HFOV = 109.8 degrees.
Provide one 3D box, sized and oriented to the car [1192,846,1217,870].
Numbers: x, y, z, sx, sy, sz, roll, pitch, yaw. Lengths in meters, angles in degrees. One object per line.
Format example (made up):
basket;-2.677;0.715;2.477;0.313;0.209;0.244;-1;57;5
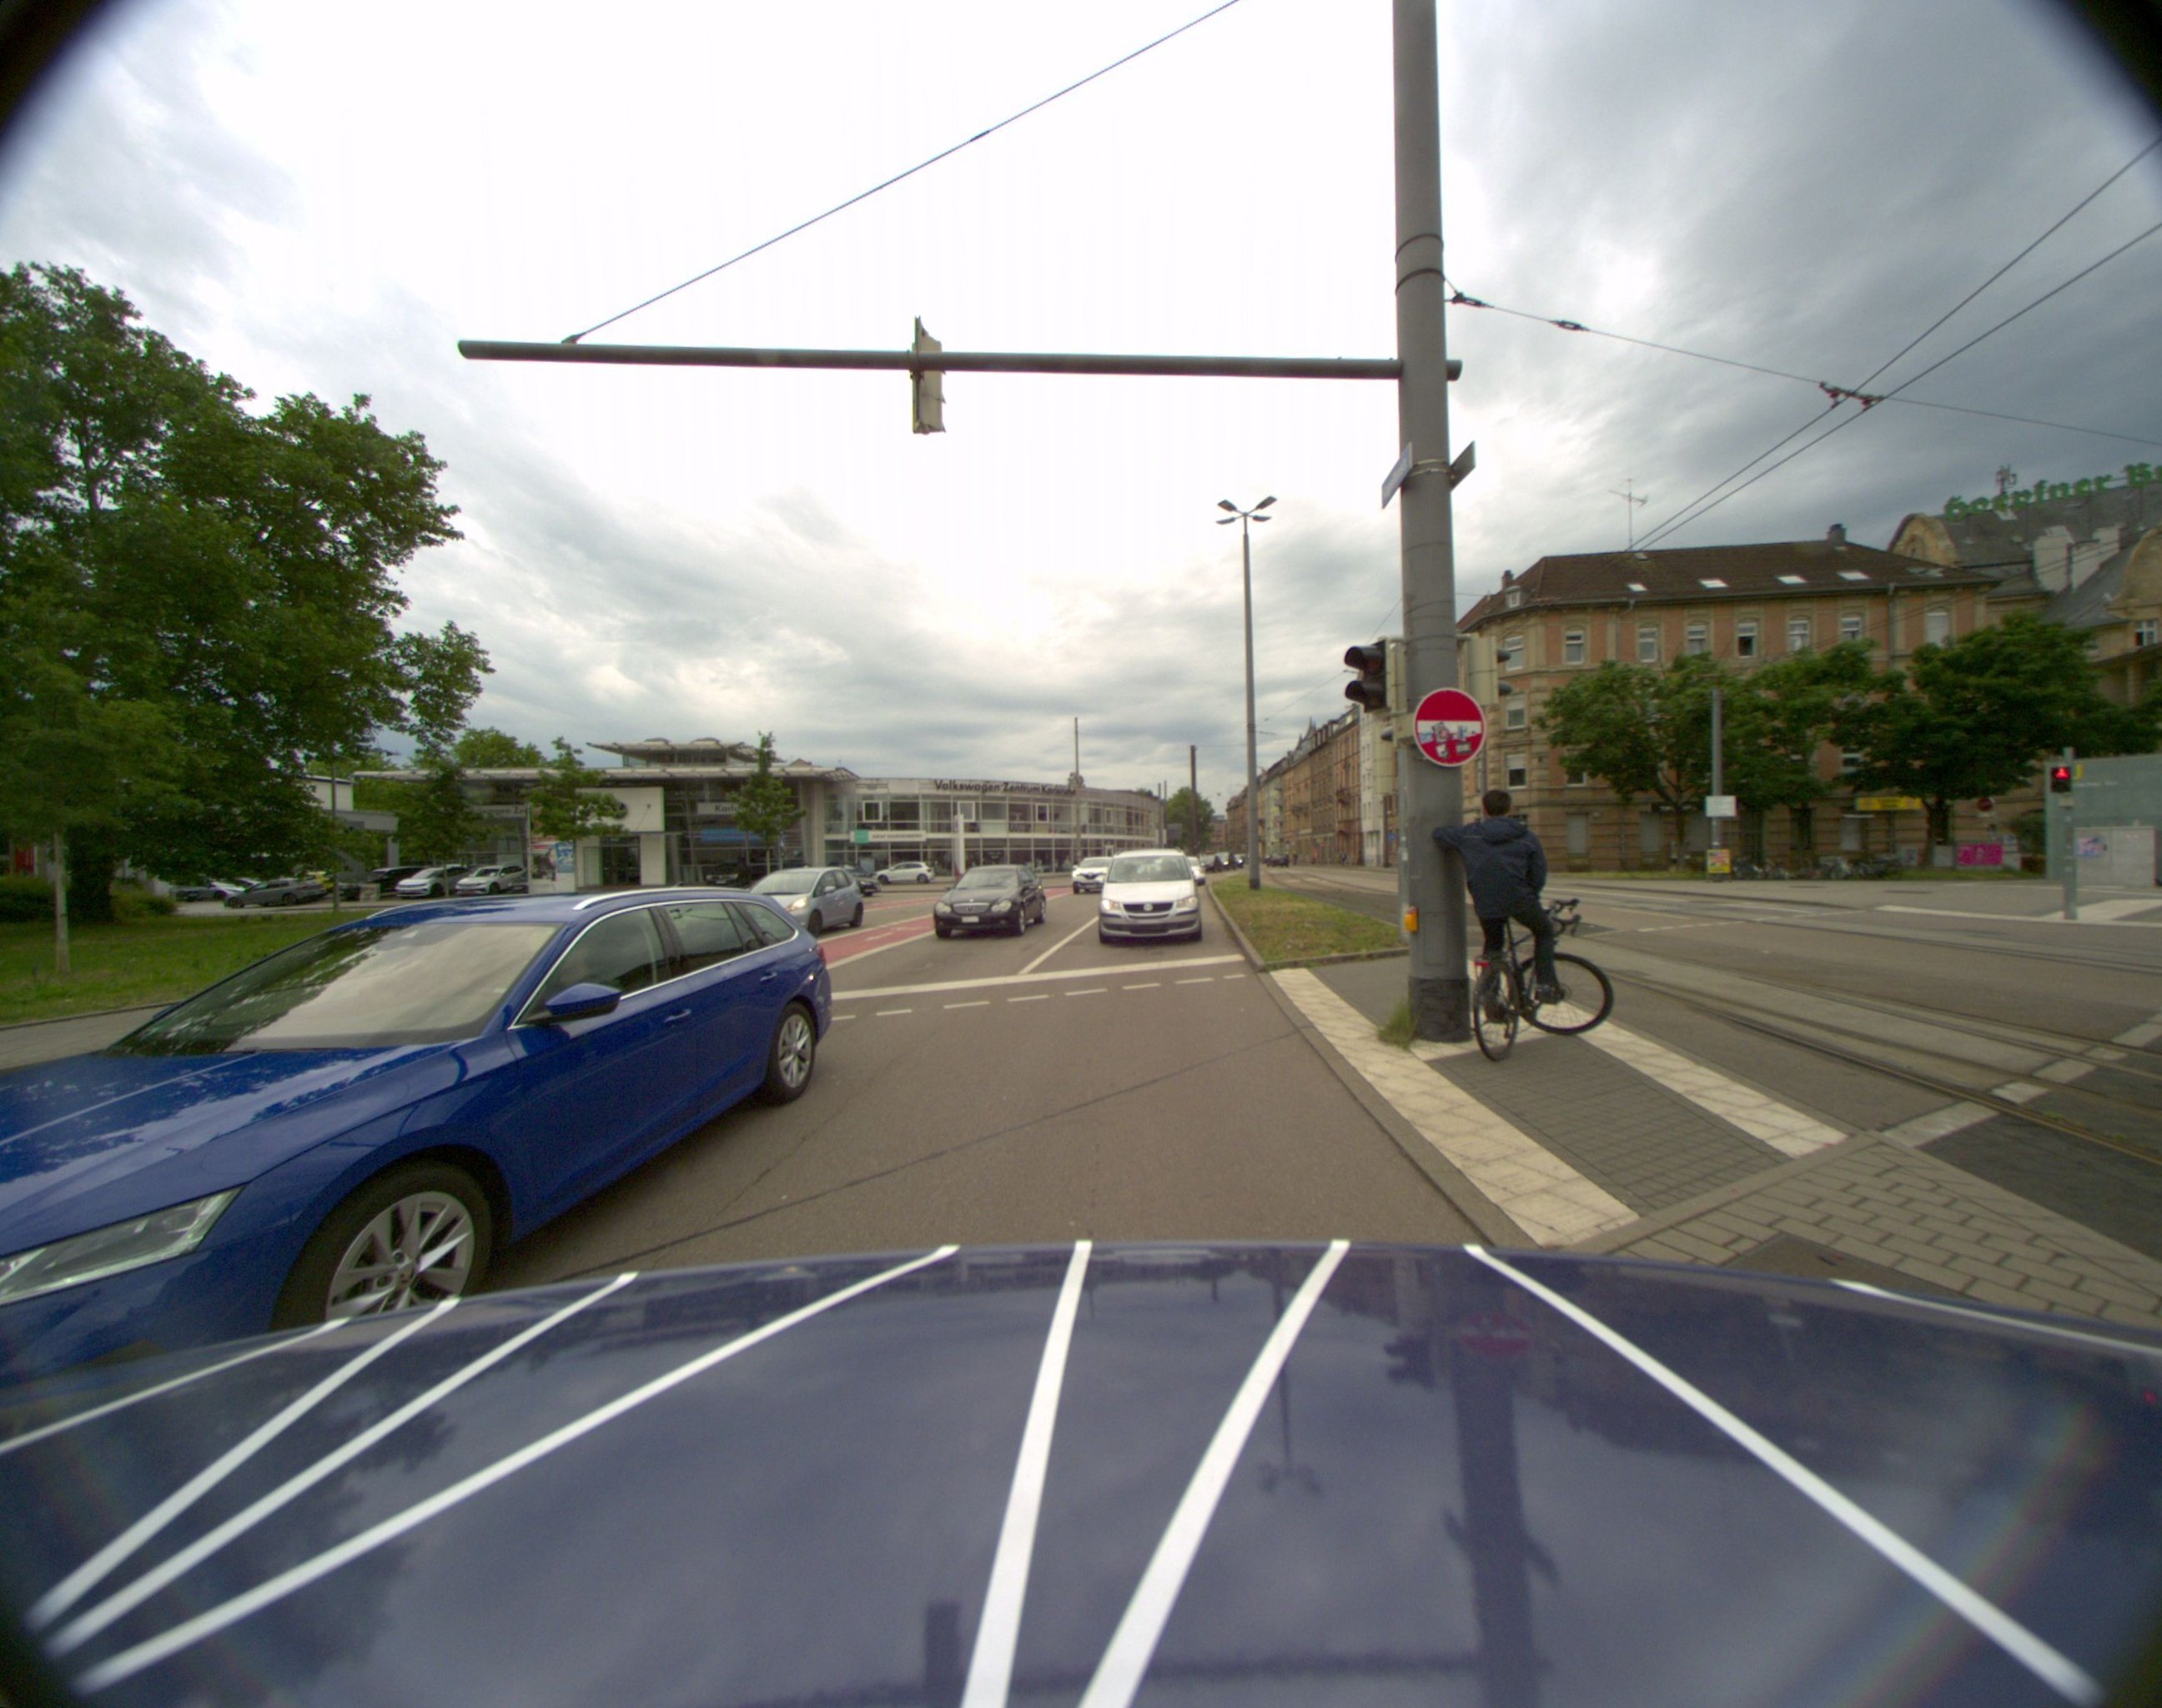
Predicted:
car;10.610;0.325;65.351;1.997;2.002;4.002;-1;0;8

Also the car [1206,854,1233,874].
car;13.038;0.946;71.637;2.371;1.744;5.133;-1;0;10

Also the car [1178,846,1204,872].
car;8.765;0.357;60.679;1.997;2.002;4.002;-1;0;8

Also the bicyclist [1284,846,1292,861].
bicyclist;26.652;-0.052;97.925;0.823;1.856;0.924;-1;1;7

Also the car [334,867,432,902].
car;-41.066;1.756;44.858;1.957;1.505;4.223;-1;6;-5

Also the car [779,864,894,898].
car;-11.599;1.266;36.296;4.881;1.534;1.890;-1;0;-5

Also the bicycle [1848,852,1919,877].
bicycle;34.634;0.444;32.842;0.754;1.024;2.398;-1;0;7

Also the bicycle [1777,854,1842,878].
bicycle;31.848;0.511;33.272;0.754;1.024;2.398;-1;0;7

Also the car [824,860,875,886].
car;-14.900;1.189;48.785;1.794;1.551;4.023;-1;0;-37

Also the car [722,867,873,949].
car;-6.128;1.102;16.954;1.709;1.474;3.934;-2;0;2

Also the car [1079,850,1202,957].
car;1.153;0.769;14.306;1.862;1.609;5.064;-2;0;5

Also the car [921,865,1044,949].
car;-1.934;1.013;16.299;1.769;1.362;4.422;-2;1;3

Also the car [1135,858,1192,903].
car;2.844;0.855;26.342;1.809;1.398;3.984;-1;0;6

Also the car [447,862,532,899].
car;-35.532;1.547;45.807;1.957;1.589;4.223;-1;6;-5

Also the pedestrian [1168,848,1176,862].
pedestrian;13.369;0.088;111.292;1.176;2.002;1.032;-1;1;7

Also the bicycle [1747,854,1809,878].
bicycle;30.743;0.506;33.581;0.754;1.024;2.398;-1;0;7

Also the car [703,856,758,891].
car;-21.585;1.152;46.956;1.958;1.634;4.666;-1;4;-11

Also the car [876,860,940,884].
car;-11.515;1.187;50.733;3.905;1.433;1.732;-1;0;-3

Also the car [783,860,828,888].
car;-17.220;1.225;47.403;1.960;1.517;4.219;-1;2;-30

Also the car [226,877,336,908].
car;-45.452;2.162;43.252;4.149;1.505;1.653;-1;4;-5

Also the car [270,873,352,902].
car;-45.988;1.969;45.430;3.122;1.505;1.439;-1;4;-5

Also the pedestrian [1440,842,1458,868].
pedestrian;24.272;0.083;50.162;0.811;1.666;0.799;-1;1;3

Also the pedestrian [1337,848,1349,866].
pedestrian;26.752;0.330;77.667;0.921;1.822;0.719;-1;0;-28

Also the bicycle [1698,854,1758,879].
bicycle;28.759;0.537;33.816;0.836;1.024;2.398;-1;0;7

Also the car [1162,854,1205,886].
car;5.212;0.765;38.198;1.971;1.447;4.196;-1;0;9

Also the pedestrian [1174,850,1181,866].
pedestrian;10.424;0.409;82.138;0.662;1.671;0.650;-1;1;6

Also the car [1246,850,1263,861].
car;26.182;0.194;114.695;1.834;1.635;4.232;-1;0;5

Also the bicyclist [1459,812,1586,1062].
bicyclist;3.096;0.536;5.333;0.656;1.630;0.516;-1;1;-32

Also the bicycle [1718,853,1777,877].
bicycle;29.559;0.470;33.740;0.754;1.024;2.398;-1;0;7

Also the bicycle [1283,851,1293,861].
bicycle;26.686;0.232;97.970;0.798;1.285;2.412;-1;0;7

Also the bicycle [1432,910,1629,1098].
bicycle;3.237;0.991;5.422;1.617;1.064;0.526;-1;1;-32

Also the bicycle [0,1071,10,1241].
bicycle;-5.808;1.390;2.792;0.763;1.072;2.017;-2;0;5

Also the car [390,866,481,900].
car;-38.369;1.669;45.345;1.957;1.459;4.224;-1;5;-5

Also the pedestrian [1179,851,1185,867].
pedestrian;12.114;0.599;91.195;0.652;1.904;0.602;-1;1;7

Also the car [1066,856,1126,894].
car;0.747;0.877;33.501;1.981;1.550;4.148;-1;0;10

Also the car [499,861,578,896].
car;-32.704;1.457;45.978;1.957;1.450;4.222;-1;7;-5

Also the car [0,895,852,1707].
car;-2.861;1.070;3.577;1.769;1.428;4.758;-2;0;4

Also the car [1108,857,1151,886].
car;2.730;0.930;41.864;1.906;1.428;3.975;-1;0;10

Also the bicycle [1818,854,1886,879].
bicycle;33.400;0.519;32.967;0.754;1.024;2.398;-1;0;7

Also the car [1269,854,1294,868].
car;21.909;0.705;83.183;1.887;1.461;4.466;-1;0;5
